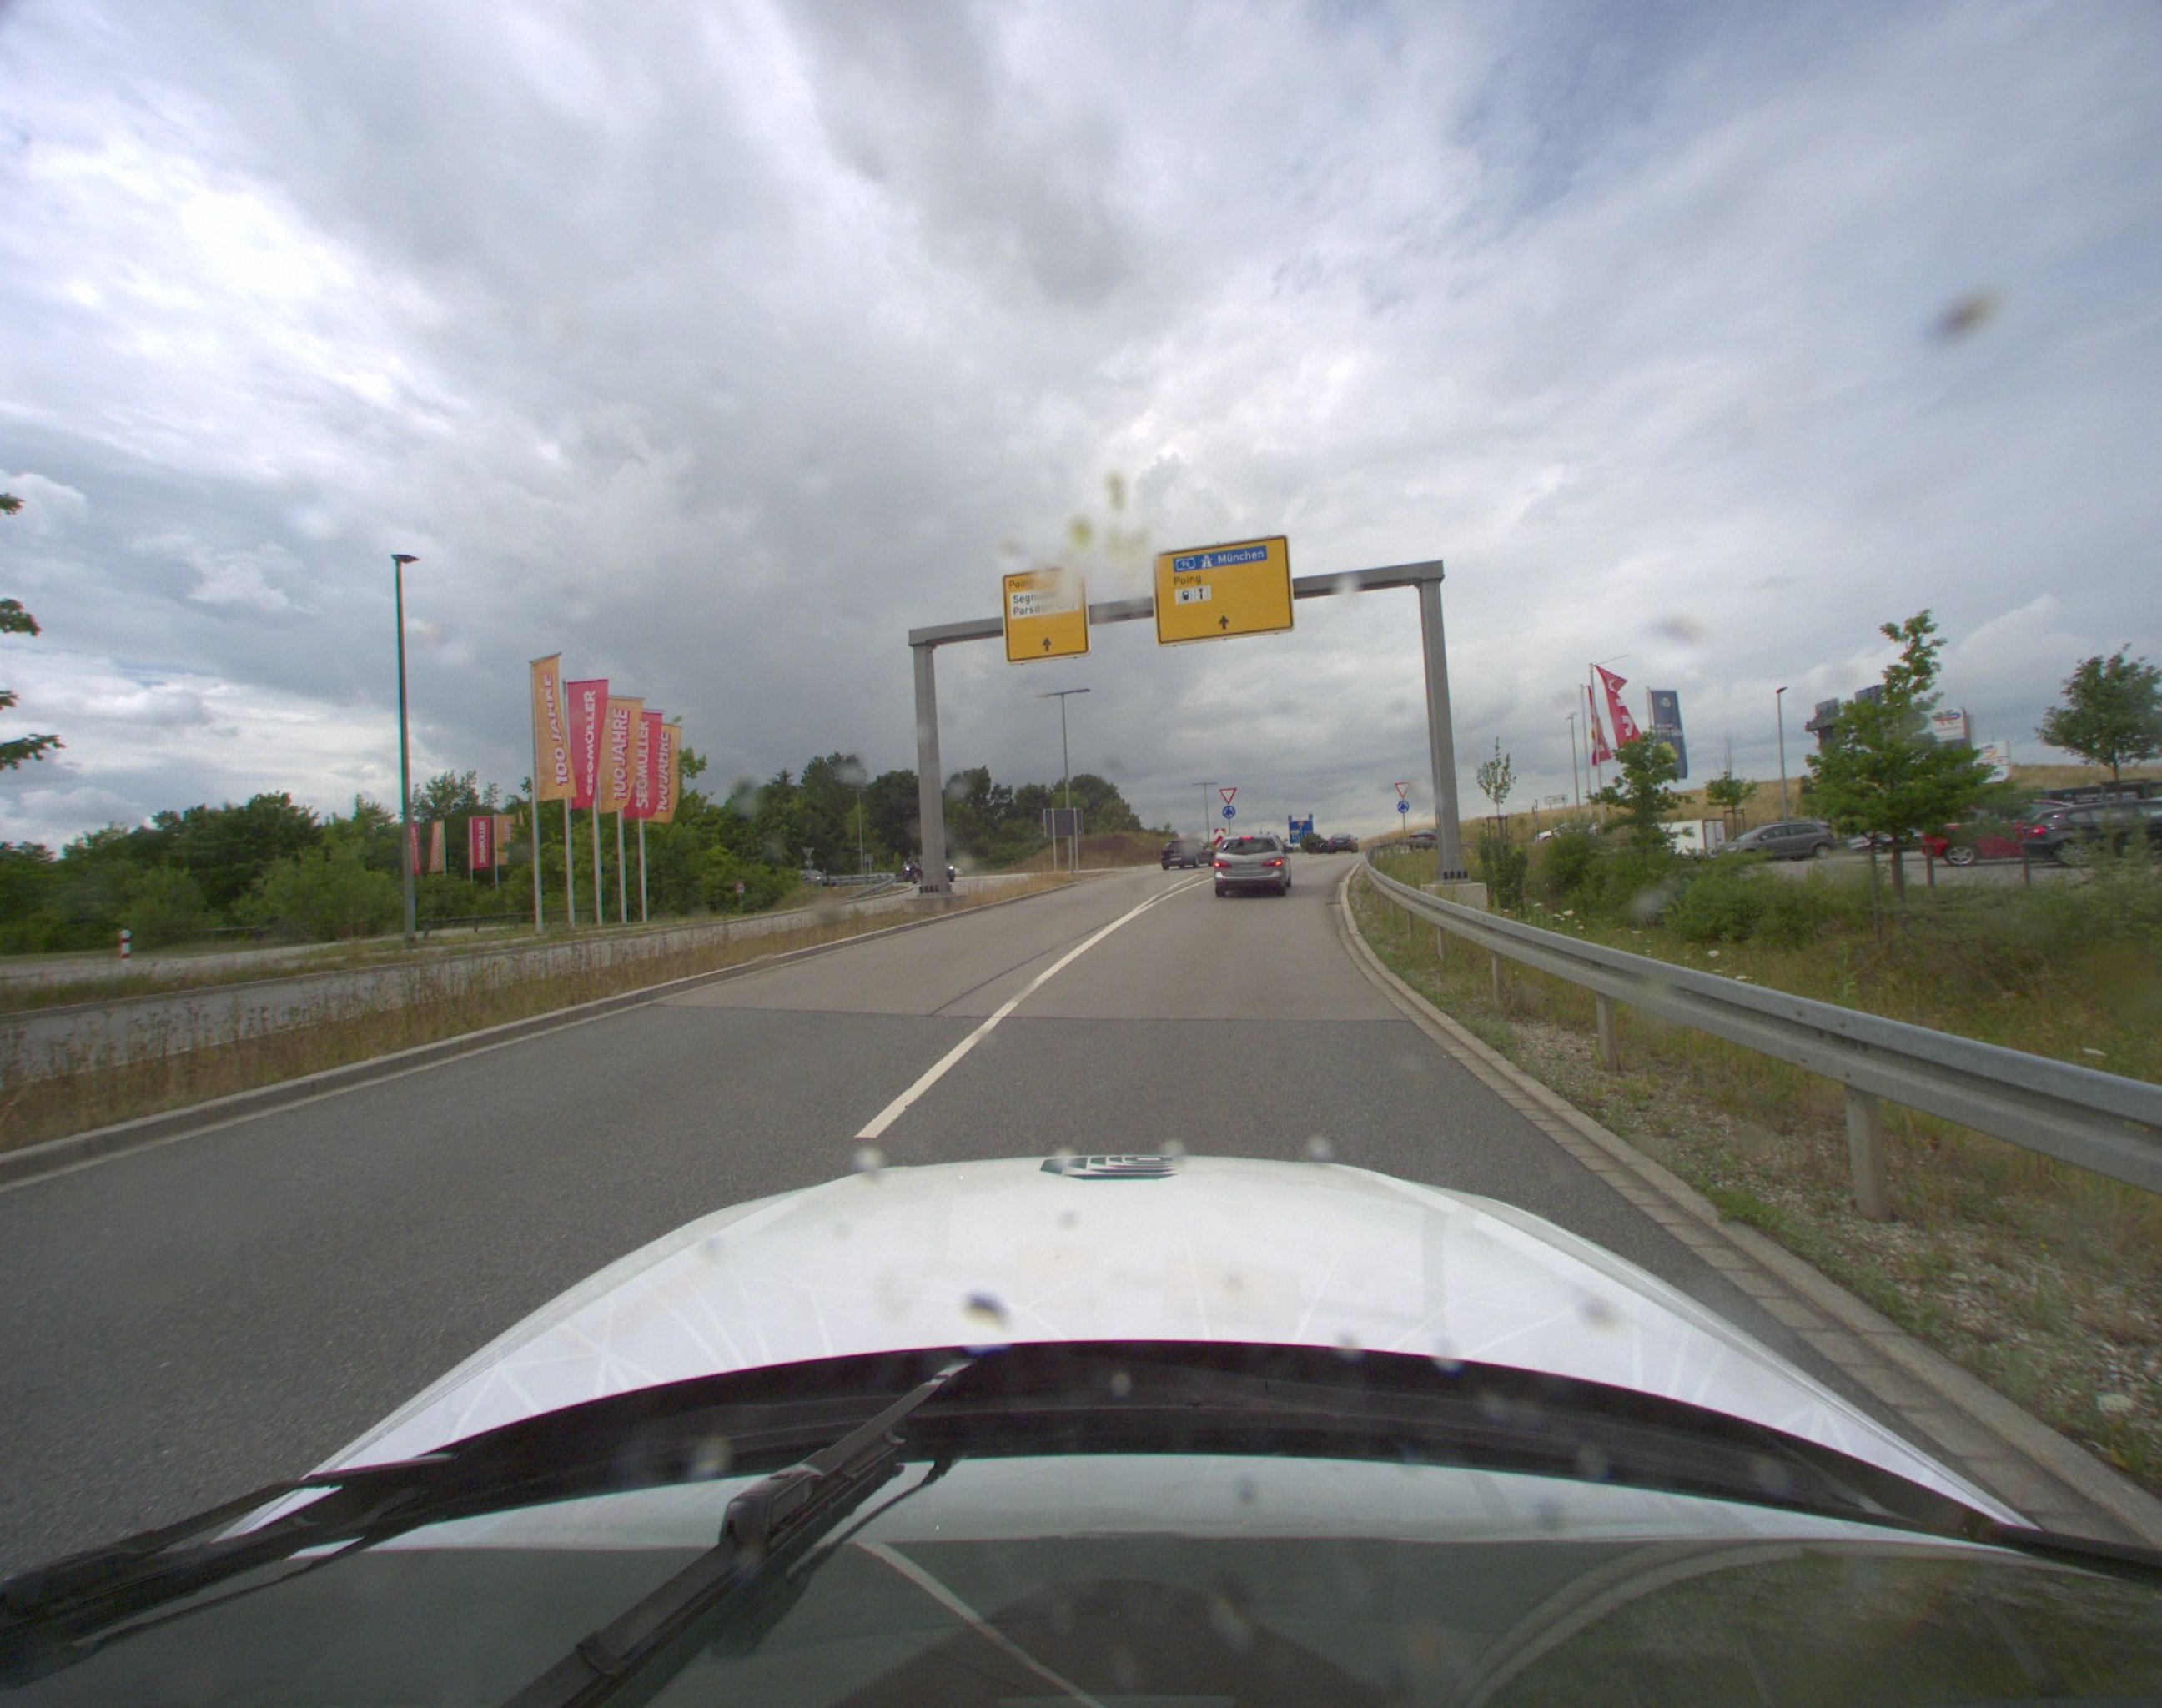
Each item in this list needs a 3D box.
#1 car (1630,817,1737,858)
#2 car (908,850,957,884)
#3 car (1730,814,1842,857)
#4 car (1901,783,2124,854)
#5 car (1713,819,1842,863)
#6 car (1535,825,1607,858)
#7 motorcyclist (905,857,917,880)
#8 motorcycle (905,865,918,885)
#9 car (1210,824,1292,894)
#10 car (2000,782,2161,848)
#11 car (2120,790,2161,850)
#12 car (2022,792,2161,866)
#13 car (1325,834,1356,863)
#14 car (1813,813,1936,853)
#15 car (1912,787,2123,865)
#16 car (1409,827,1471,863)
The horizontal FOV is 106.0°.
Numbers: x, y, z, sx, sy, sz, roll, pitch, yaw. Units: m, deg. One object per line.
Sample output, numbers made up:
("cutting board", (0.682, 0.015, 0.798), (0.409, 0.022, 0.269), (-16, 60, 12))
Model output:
("car", (27.554, -0.737, 37.346), (1.646, 1.625, 3.558), (-3, -1, -20))
("car", (-8.426, 0.751, 45.935), (1.861, 1.665, 4.132), (-6, 1, -21))
("car", (31.915, -0.795, 36.987), (1.640, 1.693, 3.571), (-4, -1, -9))
("car", (30.766, -1.120, 27.053), (4.773, 2.053, 1.914), (-2, -1, 7))
("car", (28.315, -0.493, 33.196), (3.638, 1.483, 1.508), (-4, -3, 12))
("car", (34.814, -0.855, 57.951), (4.004, 2.013, 1.804), (-4, -1, 20))
("motorcyclist", (-11.729, 0.994, 56.145), (0.730, 1.526, 0.653), (-3, -1, -14))
("motorcycle", (-11.774, 1.424, 56.439), (0.750, 1.302, 2.473), (-3, -1, -14))
("car", (4.539, 0.070, 21.358), (1.754, 1.616, 3.939), (-2, 1, 16))
("car", (30.327, -1.145, 24.291), (3.576, 1.736, 1.600), (-3, -1, 9))
("car", (30.564, -1.009, 21.551), (3.576, 1.577, 1.600), (-3, -1, 9))
("car", (23.661, -0.621, 17.996), (1.622, 1.420, 3.595), (-4, -2, -38))
("car", (17.890, -0.363, 56.088), (1.880, 1.783, 4.177), (-4, -1, 18))
("car", (35.821, -0.893, 36.876), (1.691, 1.547, 3.647), (-4, -1, -9))
("car", (24.368, -0.697, 21.303), (1.558, 1.624, 3.421), (-4, -2, -38))
("car", (20.479, -0.518, 46.413), (3.979, 1.838, 1.639), (-3, -1, -43))
